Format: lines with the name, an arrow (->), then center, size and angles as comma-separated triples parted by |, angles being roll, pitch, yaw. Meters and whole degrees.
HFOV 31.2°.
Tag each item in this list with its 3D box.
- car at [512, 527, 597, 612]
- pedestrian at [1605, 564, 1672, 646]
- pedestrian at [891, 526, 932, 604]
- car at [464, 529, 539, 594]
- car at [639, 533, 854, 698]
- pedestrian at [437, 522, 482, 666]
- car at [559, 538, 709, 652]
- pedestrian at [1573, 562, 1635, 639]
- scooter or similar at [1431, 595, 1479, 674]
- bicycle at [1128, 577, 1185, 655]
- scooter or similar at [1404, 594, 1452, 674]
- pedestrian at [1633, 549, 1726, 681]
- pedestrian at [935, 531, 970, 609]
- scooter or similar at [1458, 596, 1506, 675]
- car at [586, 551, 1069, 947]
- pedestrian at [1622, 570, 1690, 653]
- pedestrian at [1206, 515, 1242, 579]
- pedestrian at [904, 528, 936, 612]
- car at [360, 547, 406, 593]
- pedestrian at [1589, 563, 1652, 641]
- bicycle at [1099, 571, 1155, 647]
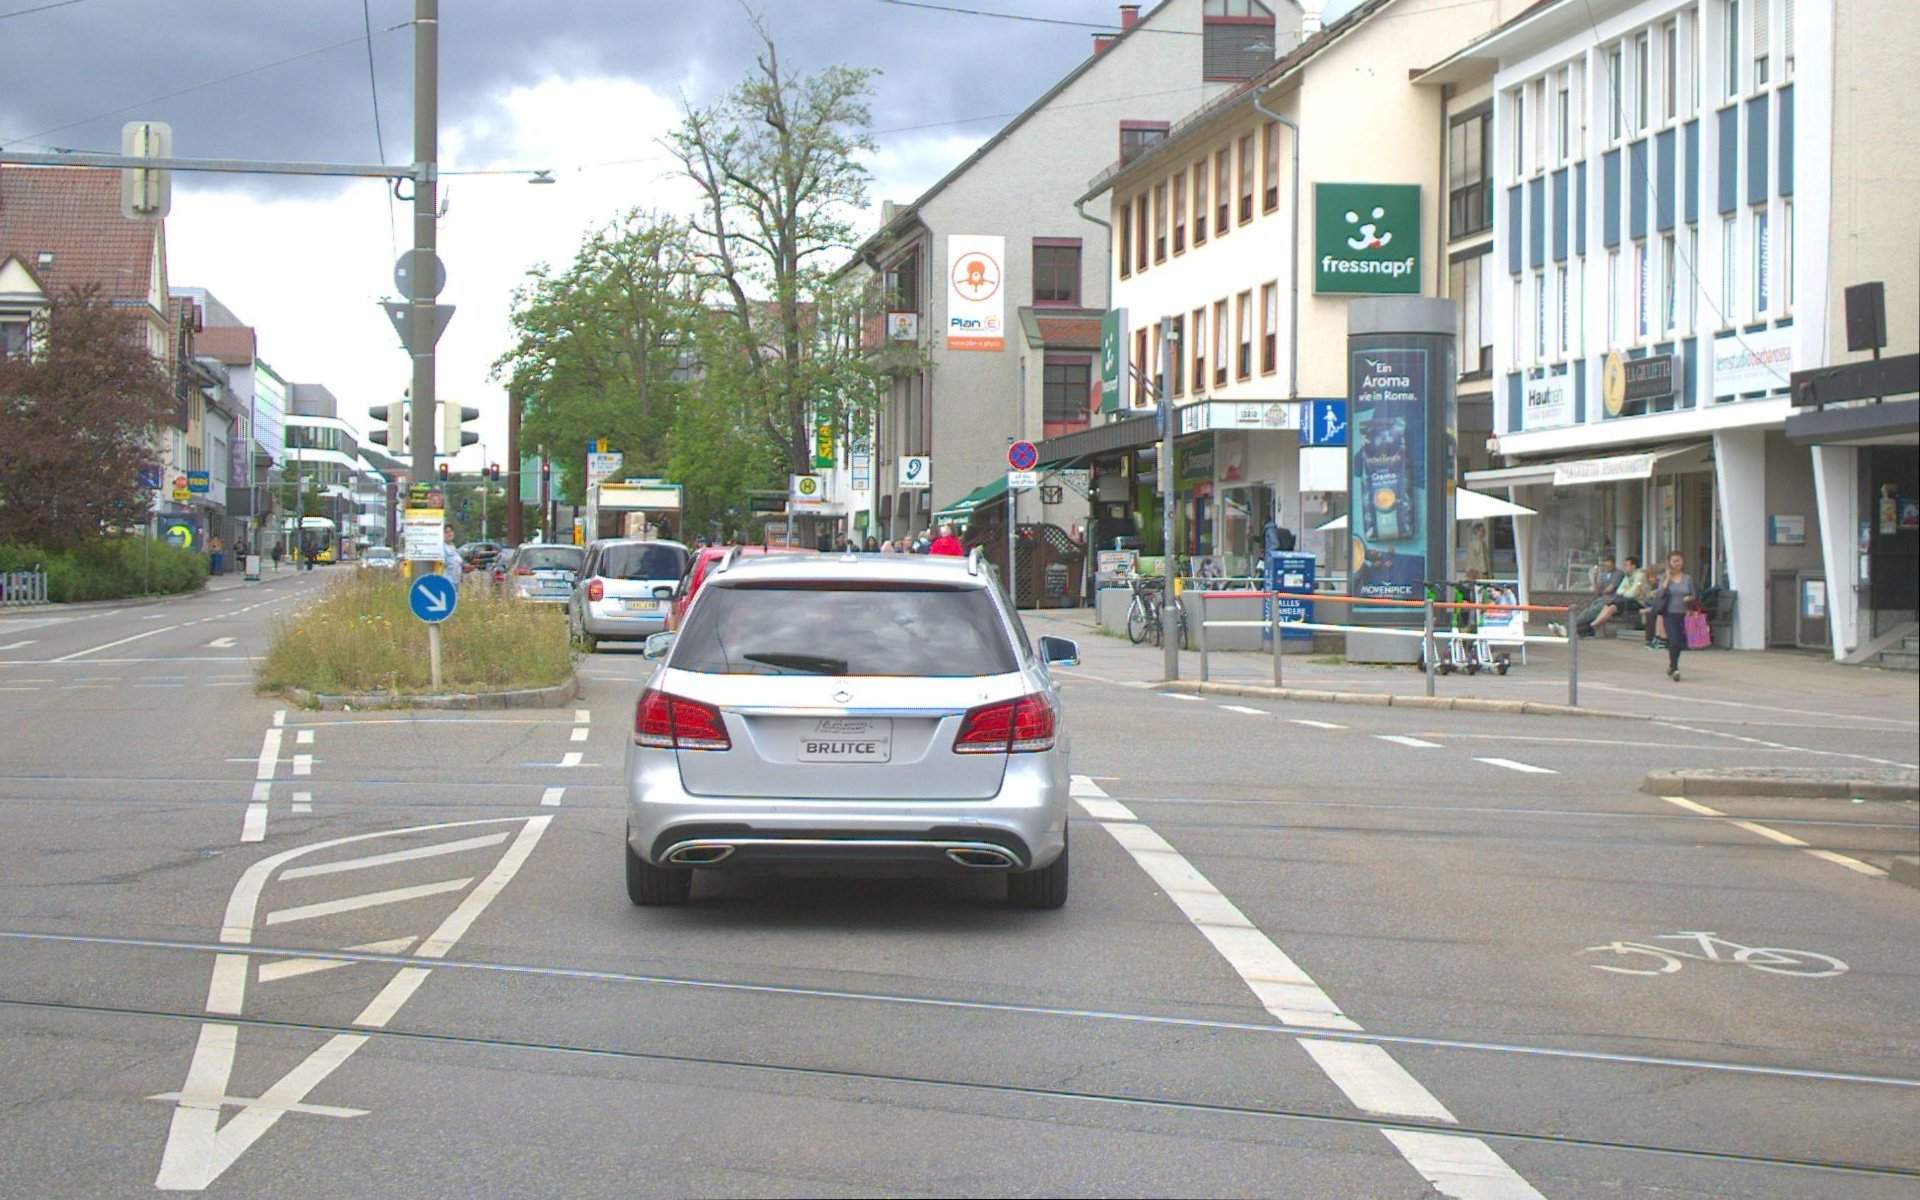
car -> -8.597, -0.666, 72.794 | 1.734, 1.753, 4.001 | 0, 1, -7
pedestrian -> 9.804, 0.070, 49.655 | 0.736, 1.160, 0.643 | 1, 0, -10
pedestrian -> -0.905, -0.650, 63.862 | 0.577, 1.430, 0.651 | 1, 0, -15
car -> -12.924, -1.101, 96.809 | 1.993, 1.744, 4.001 | 1, 1, -9
car -> -2.144, 0.103, 33.561 | 1.734, 1.503, 4.001 | 0, 1, -9
pedestrian -> -6.176, -0.078, 42.421 | 0.533, 1.757, 0.580 | 0, 1, -10
car -> -4.550, -0.098, 47.592 | 1.734, 1.503, 4.001 | 0, 1, -10
pedestrian -> 9.881, 0.004, 52.758 | 0.736, 1.160, 0.643 | 1, 0, -10
scooter or similar -> 6.336, 0.436, 44.020 | 0.271, 0.998, 1.029 | 0, 1, -12
bicycle -> 2.901, 0.227, 50.841 | 0.448, 1.103, 2.150 | 0, 1, -7
scooter or similar -> 5.979, 0.431, 43.933 | 0.271, 0.998, 1.029 | 0, 1, -12
pedestrian -> 8.789, 0.179, 42.018 | 0.640, 1.586, 0.898 | 1, 0, -28
pedestrian -> -0.137, -0.576, 65.410 | 0.578, 1.464, 0.651 | 1, 0, -5
scooter or similar -> 6.692, 0.449, 44.099 | 0.271, 0.998, 1.029 | 0, 1, -12
car -> -0.491, 0.540, 15.246 | 1.846, 1.503, 4.171 | 0, 1, 1
pedestrian -> 9.914, 0.165, 49.009 | 0.736, 1.160, 0.643 | 1, 0, -10
pedestrian -> 5.124, -1.032, 66.761 | 0.533, 1.214, 0.580 | 1, 0, -10
pedestrian -> -0.802, -0.608, 69.033 | 0.578, 1.661, 0.651 | 1, 0, -2
car -> -26.104, -1.376, 155.474 | 1.993, 2.007, 4.001 | 1, 1, -10
pedestrian -> 10.010, 0.032, 52.112 | 0.736, 1.160, 0.643 | 1, 0, -10
bicycle -> 2.456, 0.127, 50.780 | 0.448, 1.087, 2.150 | 0, 1, -7
